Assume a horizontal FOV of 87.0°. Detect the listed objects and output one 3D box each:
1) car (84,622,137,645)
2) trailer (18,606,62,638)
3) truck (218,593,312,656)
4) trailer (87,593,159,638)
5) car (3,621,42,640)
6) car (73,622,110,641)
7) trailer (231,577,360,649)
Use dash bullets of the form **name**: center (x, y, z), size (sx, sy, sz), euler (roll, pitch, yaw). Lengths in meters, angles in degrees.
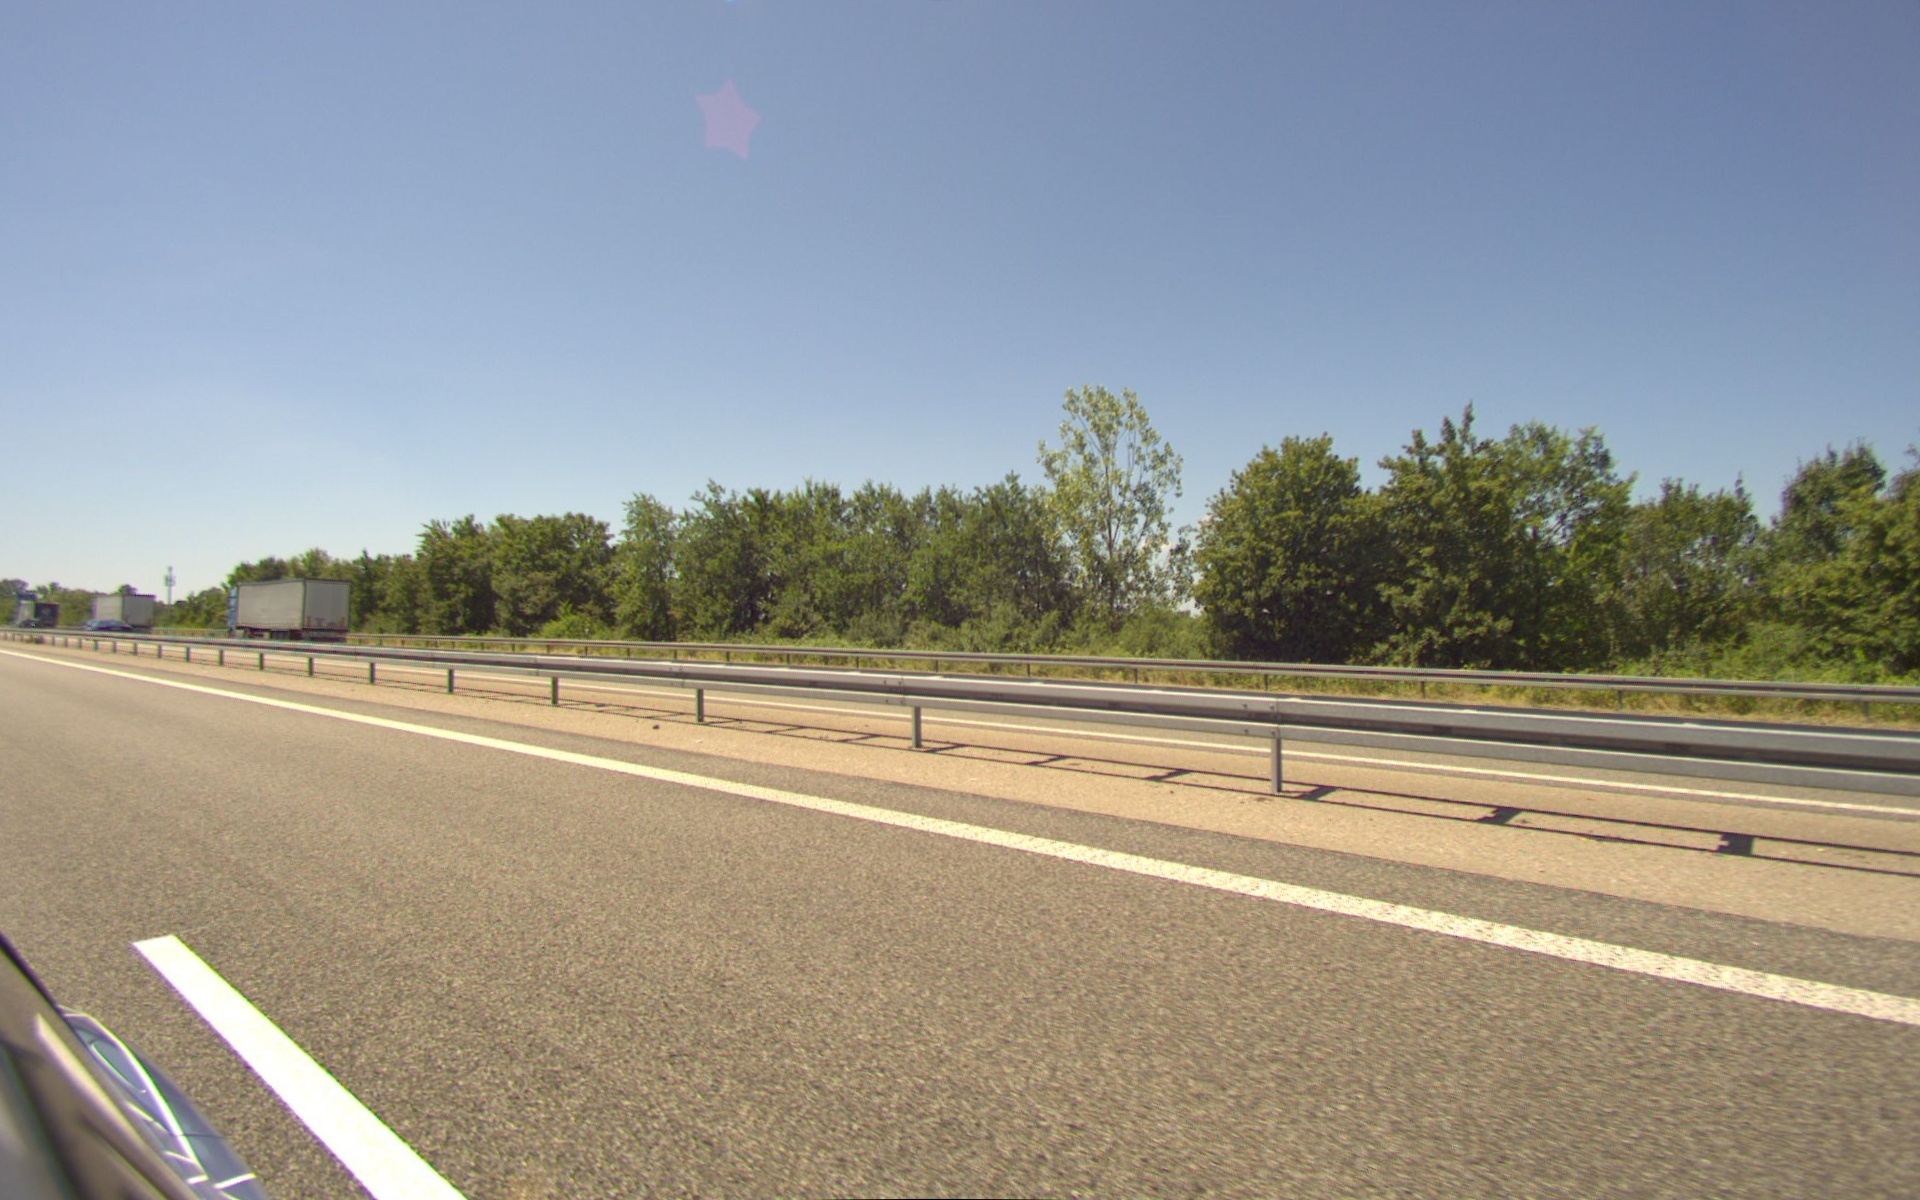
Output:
- **car**: center (-54.297, 2.125, 64.658), size (4.740, 1.406, 1.830), euler (-1, -4, 41)
- **trailer**: center (-129.191, 3.123, 141.993), size (13.535, 4.218, 2.889), euler (-1, -4, 41)
- **truck**: center (-47.121, 1.697, 68.543), size (8.723, 4.017, 3.218), euler (-2, -2, 41)
- **trailer**: center (-83.882, 1.686, 101.294), size (13.532, 4.218, 3.314), euler (-2, -3, 41)
- **car**: center (-79.770, 2.570, 86.049), size (5.167, 1.474, 1.830), euler (-1, -4, 41)
- **car**: center (-75.443, 2.706, 87.902), size (4.311, 1.474, 1.831), euler (-1, 2, 41)
- **trailer**: center (-42.747, 0.999, 64.822), size (13.532, 4.218, 3.263), euler (-2, -3, 41)
